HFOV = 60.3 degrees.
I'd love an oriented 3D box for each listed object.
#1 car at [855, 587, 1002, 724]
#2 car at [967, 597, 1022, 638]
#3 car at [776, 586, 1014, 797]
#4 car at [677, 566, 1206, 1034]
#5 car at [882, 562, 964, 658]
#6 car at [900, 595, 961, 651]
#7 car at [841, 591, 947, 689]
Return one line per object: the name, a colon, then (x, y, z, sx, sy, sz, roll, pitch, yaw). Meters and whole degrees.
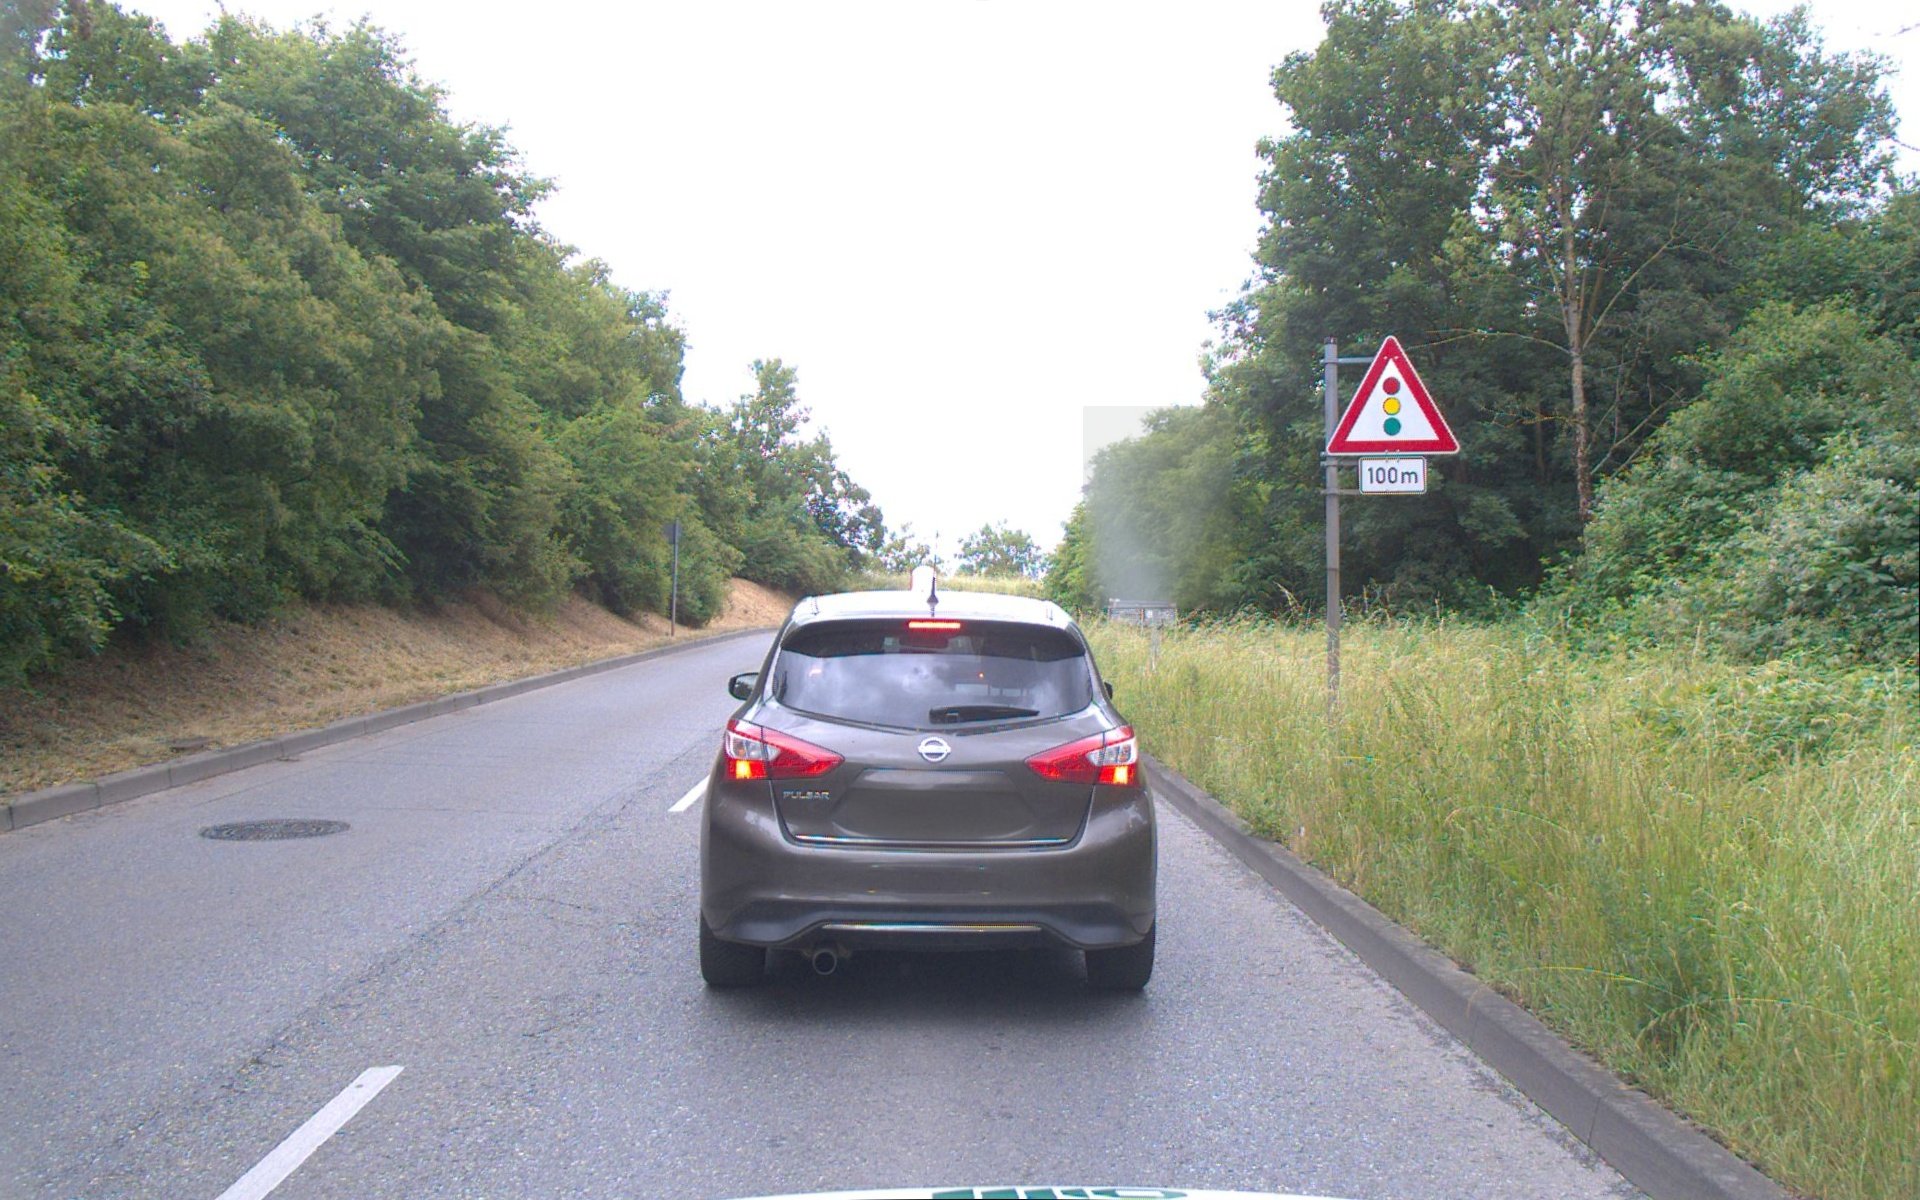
car: (-0.378, 0.632, 20.851, 1.700, 1.583, 3.543, 0, 0, -1)
car: (1.359, 0.657, 64.475, 1.699, 1.553, 3.644, 0, 0, 8)
car: (-0.502, 0.682, 14.287, 1.793, 1.583, 3.624, 0, 0, -1)
car: (-0.127, 0.678, 7.387, 1.793, 1.583, 3.497, 1, 0, -3)
car: (-0.818, 0.198, 35.867, 1.701, 1.968, 3.542, 0, 0, -2)
car: (-0.836, 0.637, 47.897, 1.700, 1.553, 3.543, 0, 0, -1)
car: (-1.069, 0.635, 28.380, 1.700, 1.583, 3.543, 0, 0, -1)
